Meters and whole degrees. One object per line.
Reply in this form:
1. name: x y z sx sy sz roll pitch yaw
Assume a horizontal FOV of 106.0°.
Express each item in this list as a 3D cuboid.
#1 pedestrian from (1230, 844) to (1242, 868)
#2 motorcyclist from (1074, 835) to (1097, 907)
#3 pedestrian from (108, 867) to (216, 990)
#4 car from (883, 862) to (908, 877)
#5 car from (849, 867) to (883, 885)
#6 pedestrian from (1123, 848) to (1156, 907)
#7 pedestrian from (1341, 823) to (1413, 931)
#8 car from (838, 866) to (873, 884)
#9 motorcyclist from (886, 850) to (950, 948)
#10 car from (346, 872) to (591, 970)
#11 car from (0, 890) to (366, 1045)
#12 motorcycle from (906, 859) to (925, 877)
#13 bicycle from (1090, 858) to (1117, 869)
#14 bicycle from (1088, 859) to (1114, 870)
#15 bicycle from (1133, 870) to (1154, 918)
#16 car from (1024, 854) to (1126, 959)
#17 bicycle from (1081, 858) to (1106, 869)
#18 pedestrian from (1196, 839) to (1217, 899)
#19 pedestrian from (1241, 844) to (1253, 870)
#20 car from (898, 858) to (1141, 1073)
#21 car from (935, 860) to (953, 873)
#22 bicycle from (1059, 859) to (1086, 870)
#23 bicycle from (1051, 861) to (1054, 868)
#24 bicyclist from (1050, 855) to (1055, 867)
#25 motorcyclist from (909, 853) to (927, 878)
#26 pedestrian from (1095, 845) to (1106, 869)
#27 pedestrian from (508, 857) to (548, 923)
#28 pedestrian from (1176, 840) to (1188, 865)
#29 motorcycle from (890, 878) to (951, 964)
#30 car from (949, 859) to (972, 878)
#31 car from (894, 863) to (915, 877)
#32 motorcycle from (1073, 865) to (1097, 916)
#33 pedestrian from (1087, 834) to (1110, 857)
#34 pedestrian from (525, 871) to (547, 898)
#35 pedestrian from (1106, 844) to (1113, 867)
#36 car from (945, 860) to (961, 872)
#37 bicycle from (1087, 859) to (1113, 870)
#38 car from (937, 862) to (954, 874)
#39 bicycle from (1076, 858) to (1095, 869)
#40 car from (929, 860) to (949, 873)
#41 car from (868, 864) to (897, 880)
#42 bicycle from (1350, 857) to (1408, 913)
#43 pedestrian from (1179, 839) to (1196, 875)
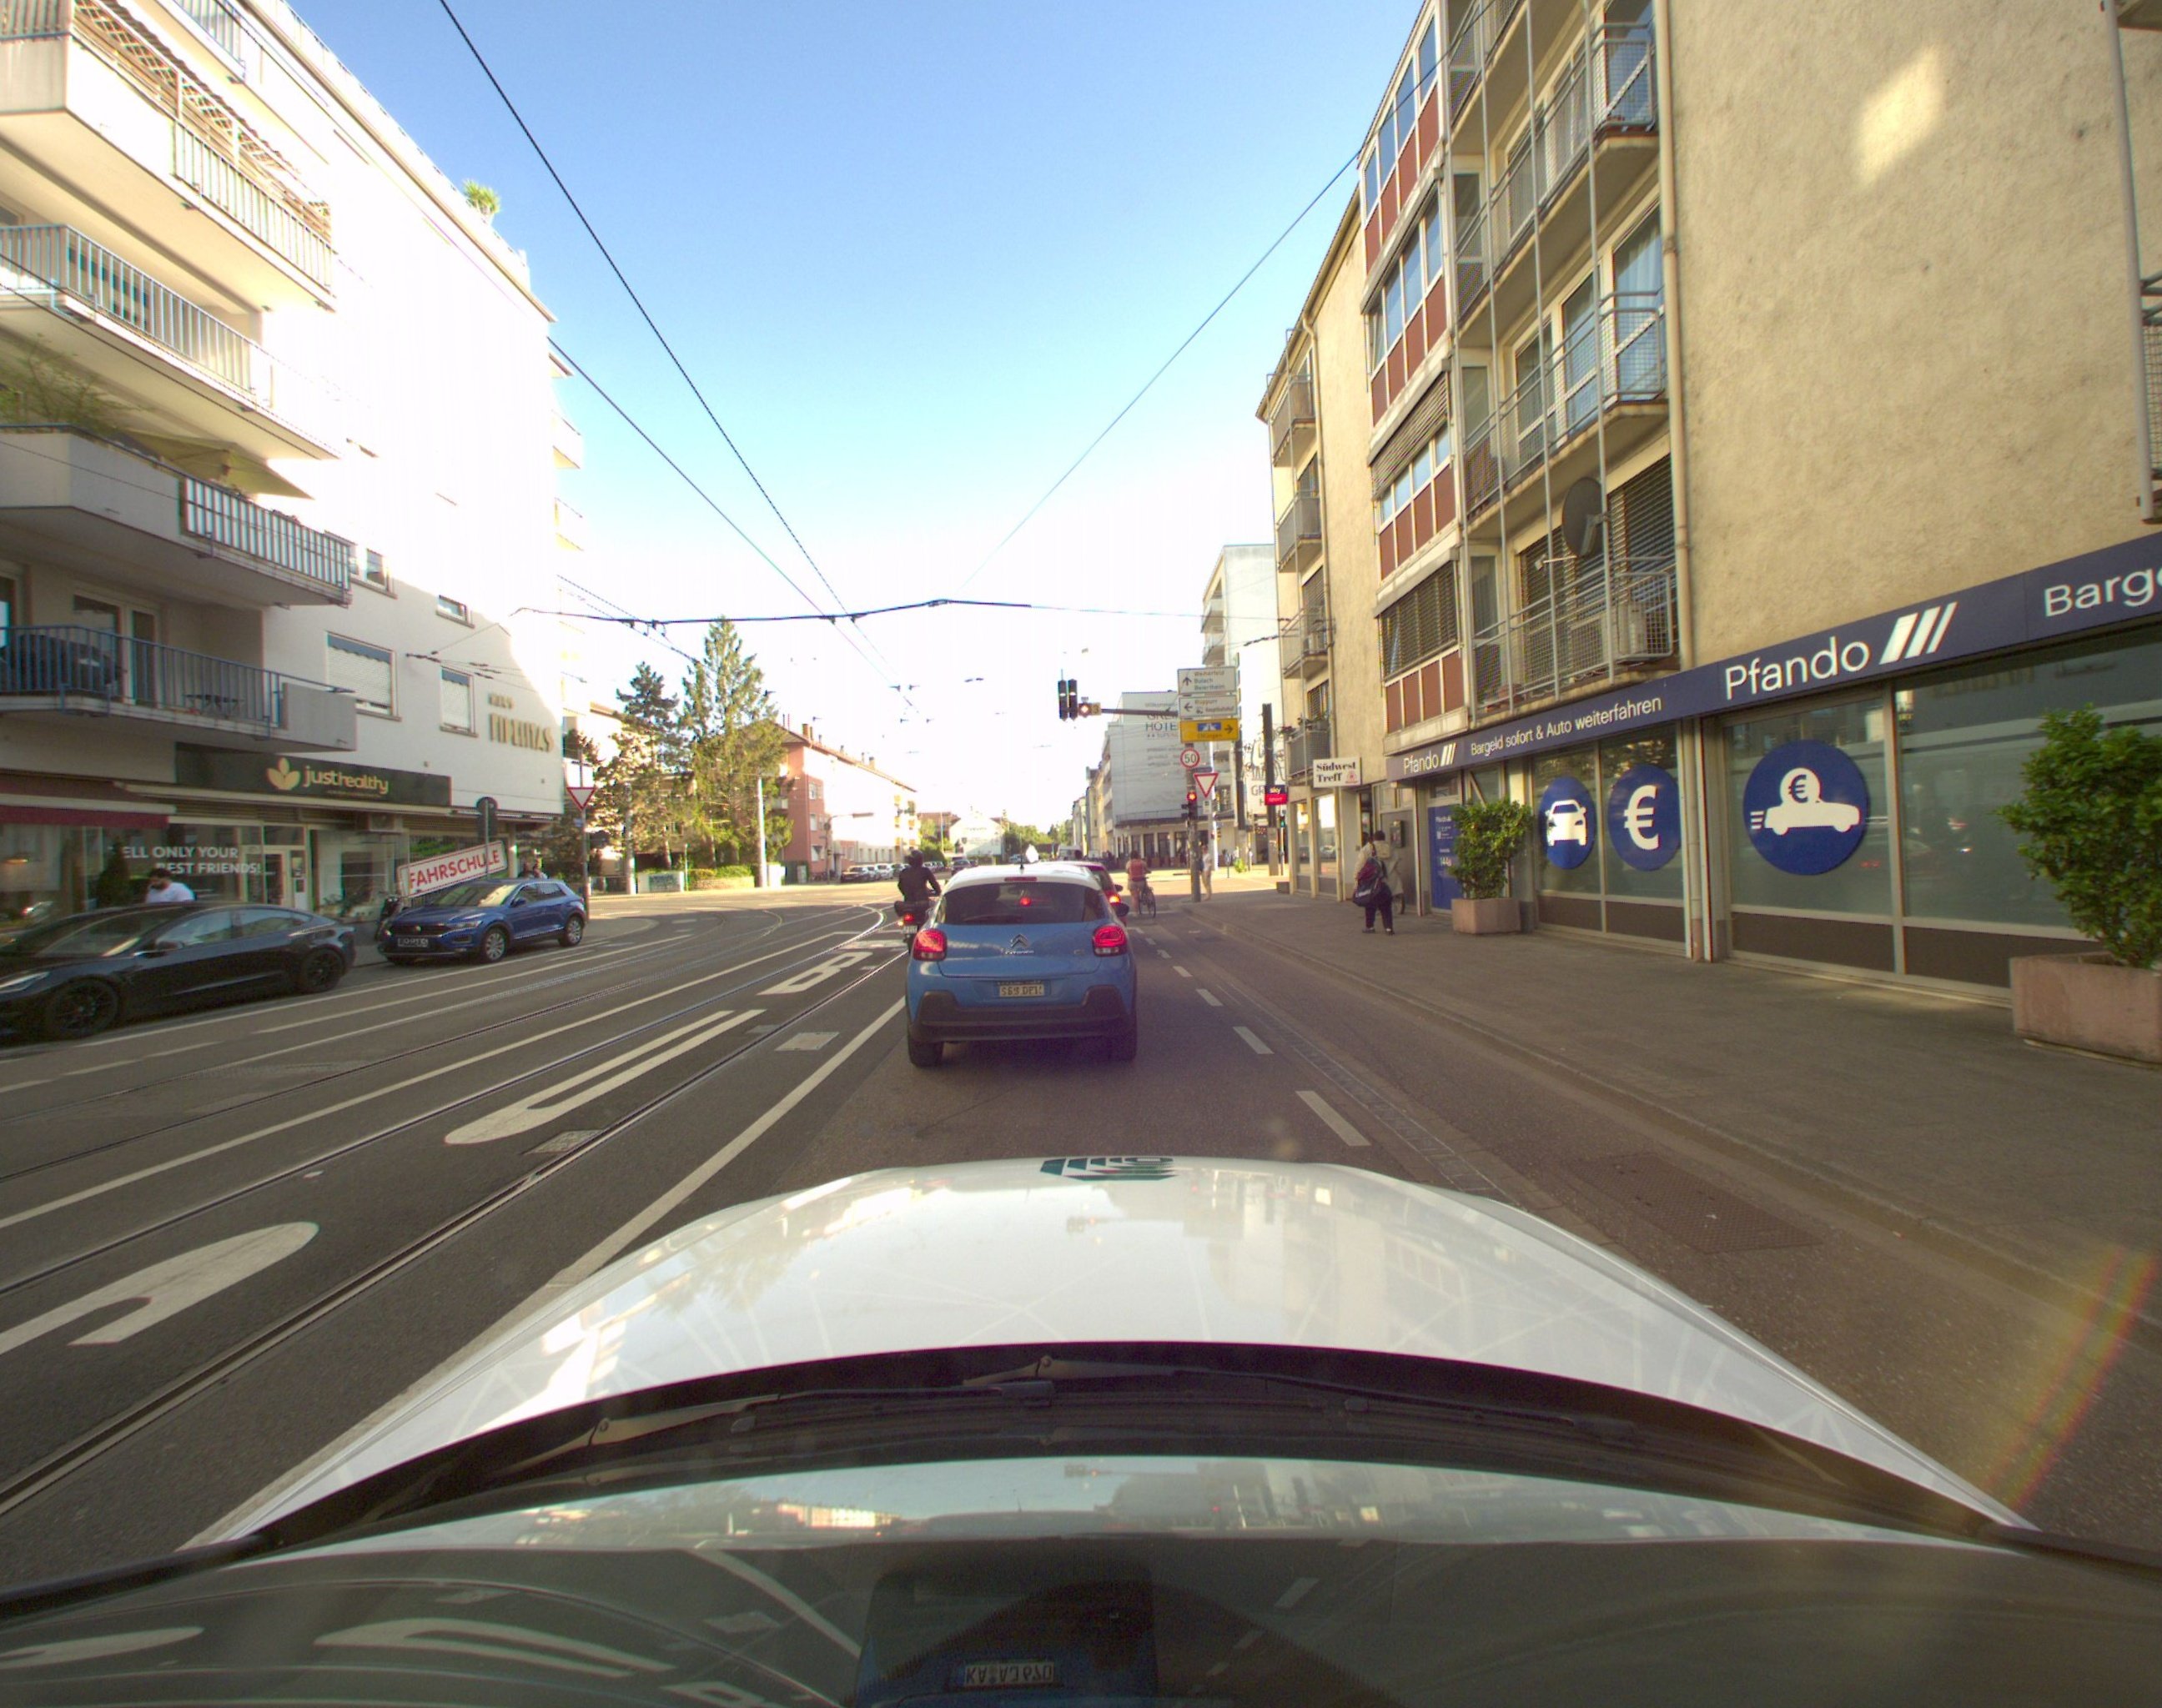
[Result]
1. pedestrian: 10.431 0.131 54.729 0.730 1.601 0.751 -1 -1 15
2. motorcyclist: 0.120 0.402 19.753 0.524 1.716 0.717 0 -1 2
3. pedestrian: -13.976 1.105 12.411 0.689 1.803 0.812 0 -1 1
4. car: -19.709 1.646 86.694 1.781 1.498 3.998 0 -1 -1
5. car: -19.479 1.957 73.997 1.808 1.498 4.302 0 0 2
6. pedestrian: 1.448 0.579 20.299 0.774 1.460 0.682 0 -1 1
7. pedestrian: 4.490 0.345 12.388 0.822 1.593 0.751 0 -1 1
8. car: -19.189 1.745 69.431 1.787 1.421 3.996 0 -1 1
9. motorcyclist: -2.557 0.690 12.844 0.857 1.505 0.598 0 -1 1
10. car: -11.927 1.207 16.269 1.864 1.531 4.068 -2 0 -2
11. car: -12.018 1.289 10.450 1.816 1.387 4.425 -2 0 -2
12. motorcycle: -13.616 1.141 67.109 0.921 1.486 3.724 0 -1 -1
13. bicycle: 1.803 0.770 66.063 2.130 0.901 0.366 0 -1 -7
14. bicycle: 1.666 0.865 67.200 2.130 0.901 0.366 0 -1 -7
15. bicycle: 1.560 0.976 20.585 0.426 1.123 1.999 0 -1 2
16. car: -0.040 0.780 13.265 1.419 1.467 2.925 -2 -1 2
17. bicycle: 1.056 0.819 68.445 2.130 0.901 0.366 0 -1 -7
18. pedestrian: 3.744 0.440 24.338 0.515 1.783 0.595 0 -1 0
19. pedestrian: 10.732 0.209 52.601 0.747 1.657 0.886 -1 -1 13
20. car: -0.363 0.771 7.293 1.648 1.444 3.524 0 -1 2
21. car: -18.804 1.679 112.084 1.877 1.687 3.998 0 -1 -1
22. bicycle: -0.707 0.876 66.380 2.130 0.901 0.366 0 -1 -7
23. bicycle: -3.680 1.315 105.692 0.347 0.903 1.859 0 -1 0
24. bicyclist: -3.685 0.901 105.624 0.559 1.477 0.748 0 -1 0
25. motorcyclist: -13.519 0.926 67.736 1.182 2.013 1.275 -2 0 -1
26. pedestrian: 1.668 0.260 69.317 0.635 2.014 0.717 0 -1 -34
27. pedestrian: -17.228 1.098 25.373 0.767 2.014 0.694 0 -1 -4
28. pedestrian: 8.049 -0.110 64.922 0.750 2.014 0.716 -1 -1 33
29. motorcycle: -2.538 1.025 13.070 0.535 1.219 1.982 0 -1 2
30. car: -11.337 1.340 76.868 1.770 1.666 3.854 0 -1 -2
31. car: -20.039 1.821 92.617 1.728 1.498 3.996 0 -1 -2
32. motorcycle: 0.113 0.836 19.562 0.524 1.139 2.290 0 -1 2
33. pedestrian: 1.631 -0.728 73.694 1.986 2.014 4.001 0 -1 2
34. pedestrian: -36.480 2.036 54.503 0.896 1.791 0.808 0 -1 4
35. pedestrian: 2.473 0.144 70.388 0.575 2.014 0.625 0 -1 -1
36. car: -19.100 1.761 121.961 1.841 1.687 3.872 0 -1 -1
37. bicycle: 1.613 0.861 67.606 2.130 0.901 0.366 0 -1 -7
38. car: -19.557 2.034 117.295 1.828 1.687 3.998 0 -1 -1
39. bicycle: 0.367 0.821 69.564 1.765 0.901 0.369 -1 -1 36
40. car: -18.695 1.673 107.187 1.978 1.687 3.998 0 -1 -1
41. car: -19.445 1.739 79.868 1.781 1.511 4.150 0 -1 1
42. bicycle: 5.690 0.567 15.622 0.540 0.998 1.706 0 -1 2
43. pedestrian: 6.124 0.171 46.924 0.922 2.014 0.760 0 -1 1
